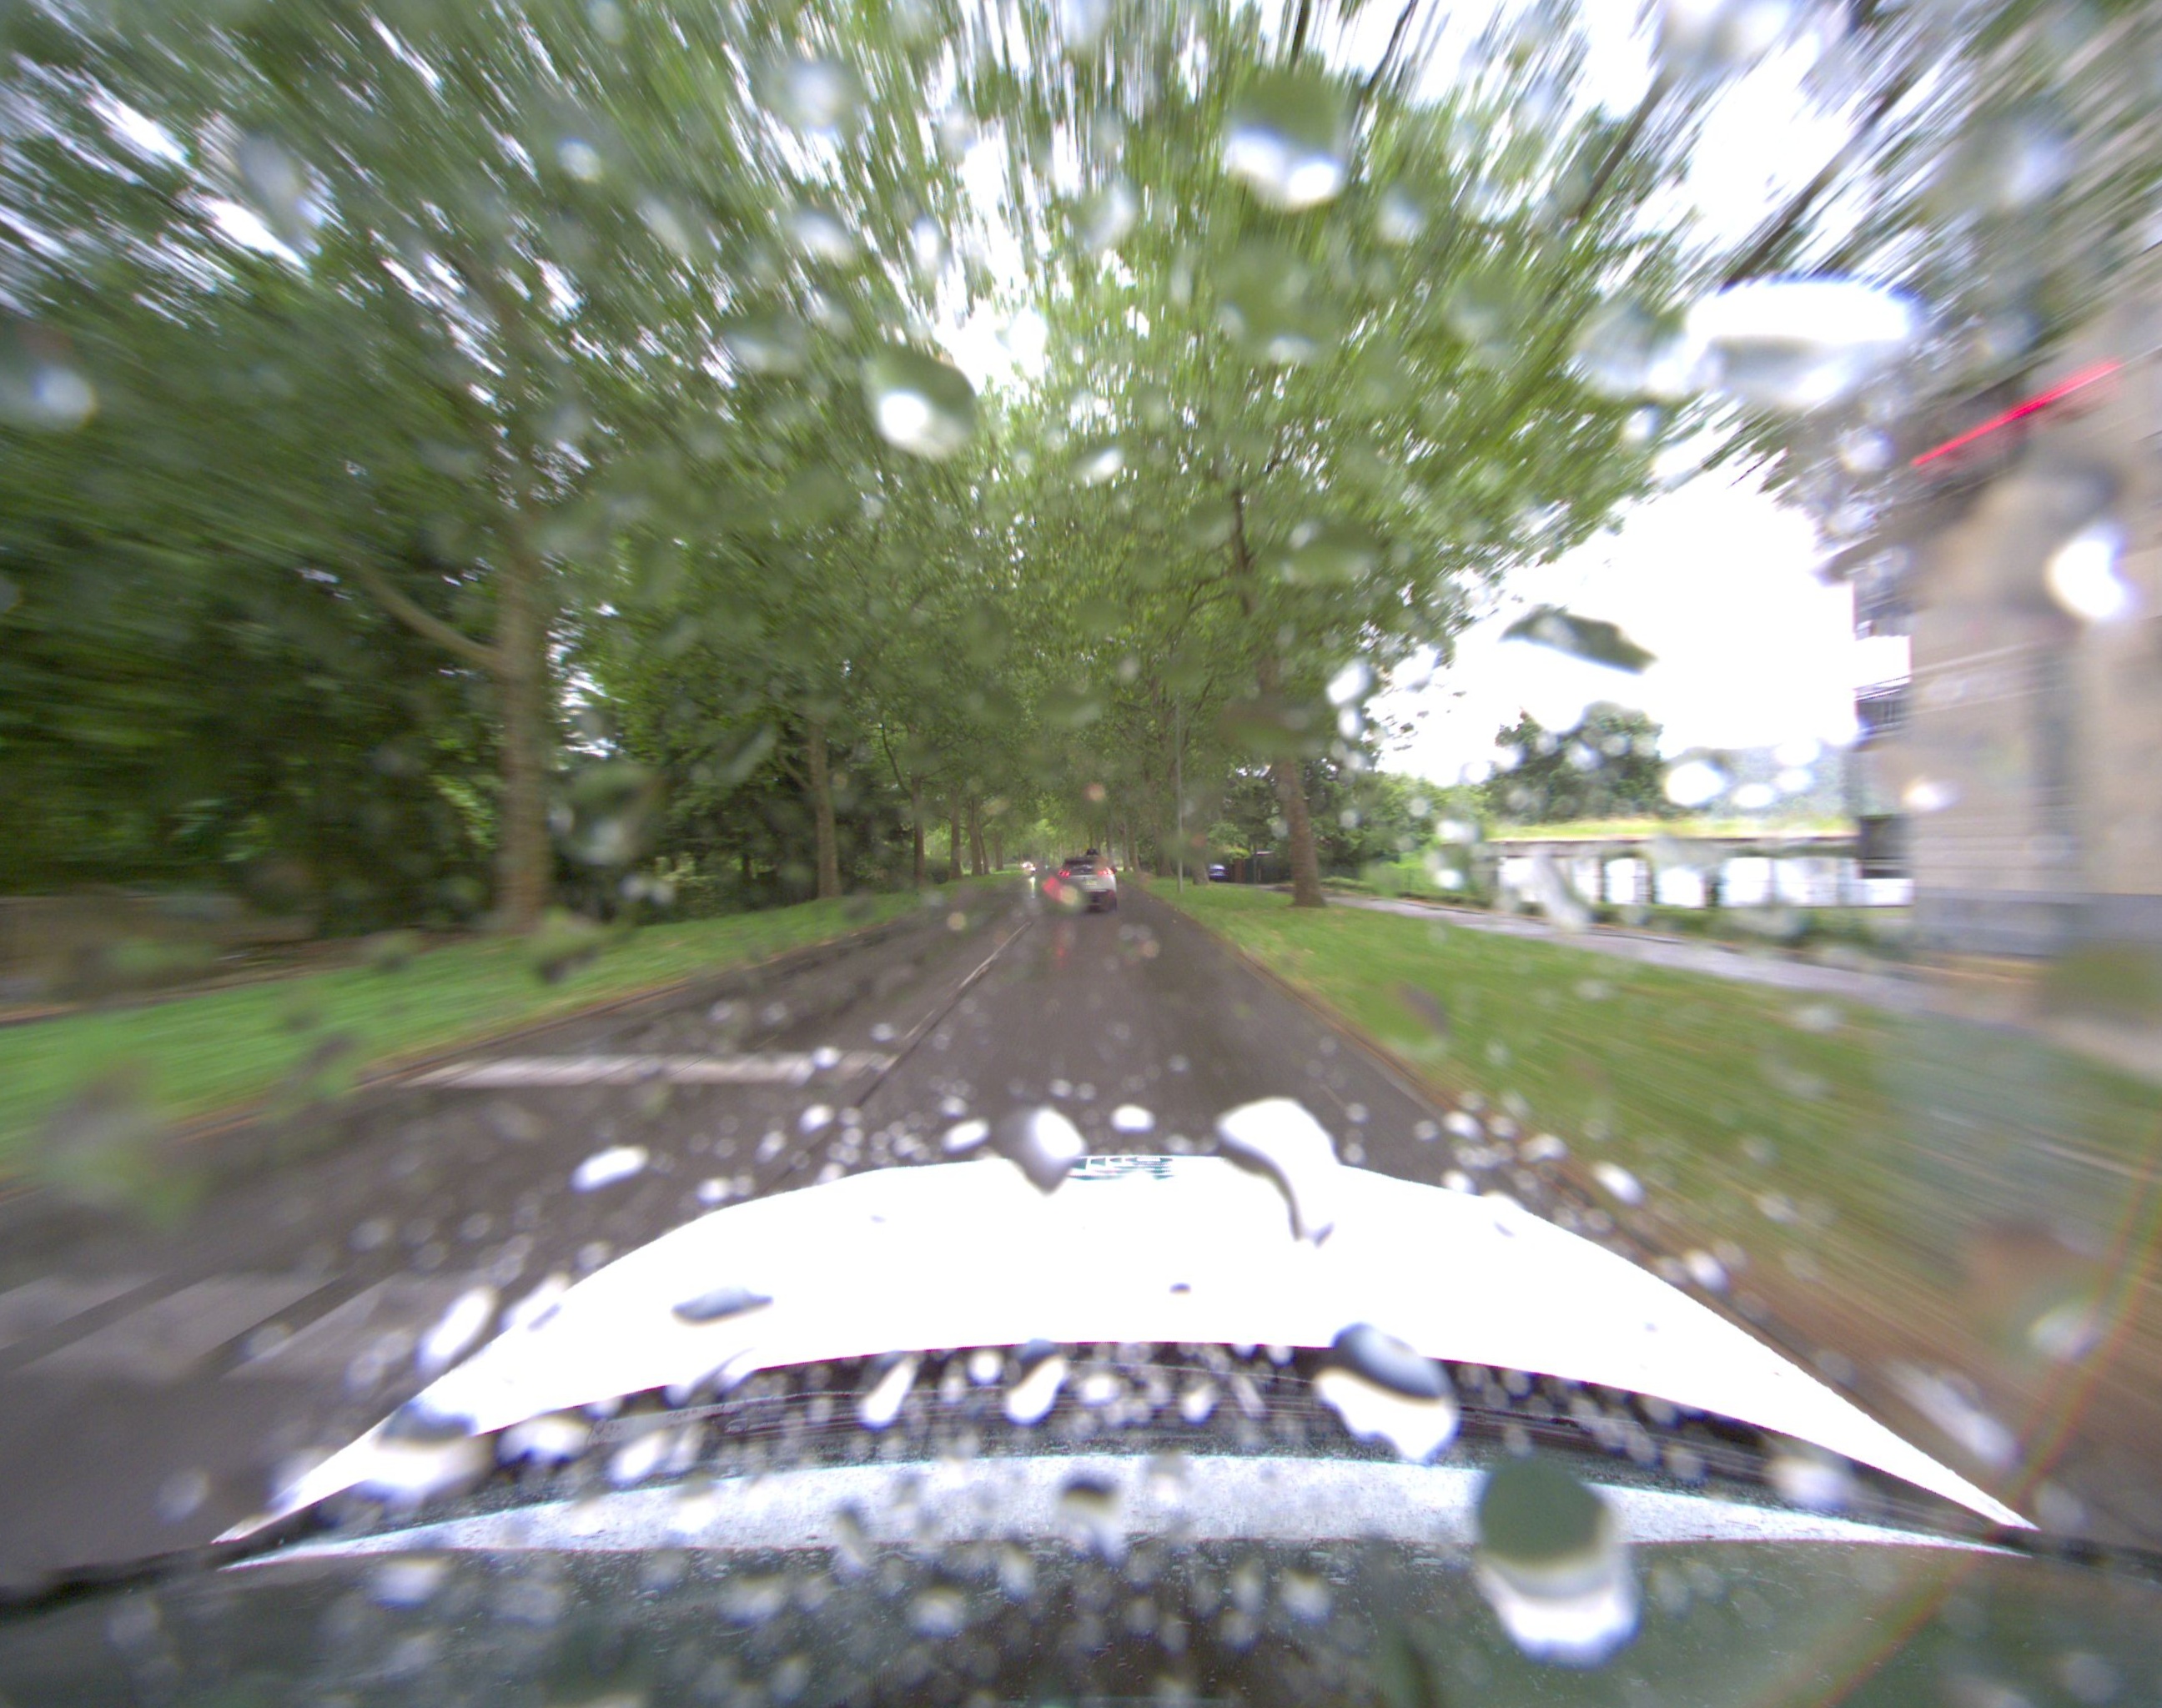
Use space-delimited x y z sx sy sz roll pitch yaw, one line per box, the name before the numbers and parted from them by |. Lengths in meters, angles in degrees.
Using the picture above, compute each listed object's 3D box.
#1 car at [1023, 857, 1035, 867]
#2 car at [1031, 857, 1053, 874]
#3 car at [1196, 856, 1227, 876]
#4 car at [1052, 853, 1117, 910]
car | -10.727 1.658 167.109 1.986 2.014 4.002 -1 0 2
car | -3.839 1.128 81.116 1.867 1.677 3.709 -1 0 2
car | 9.926 0.894 62.156 1.898 1.510 3.933 -1 0 2
car | 0.104 0.806 24.218 1.774 1.537 4.056 0 -2 0
